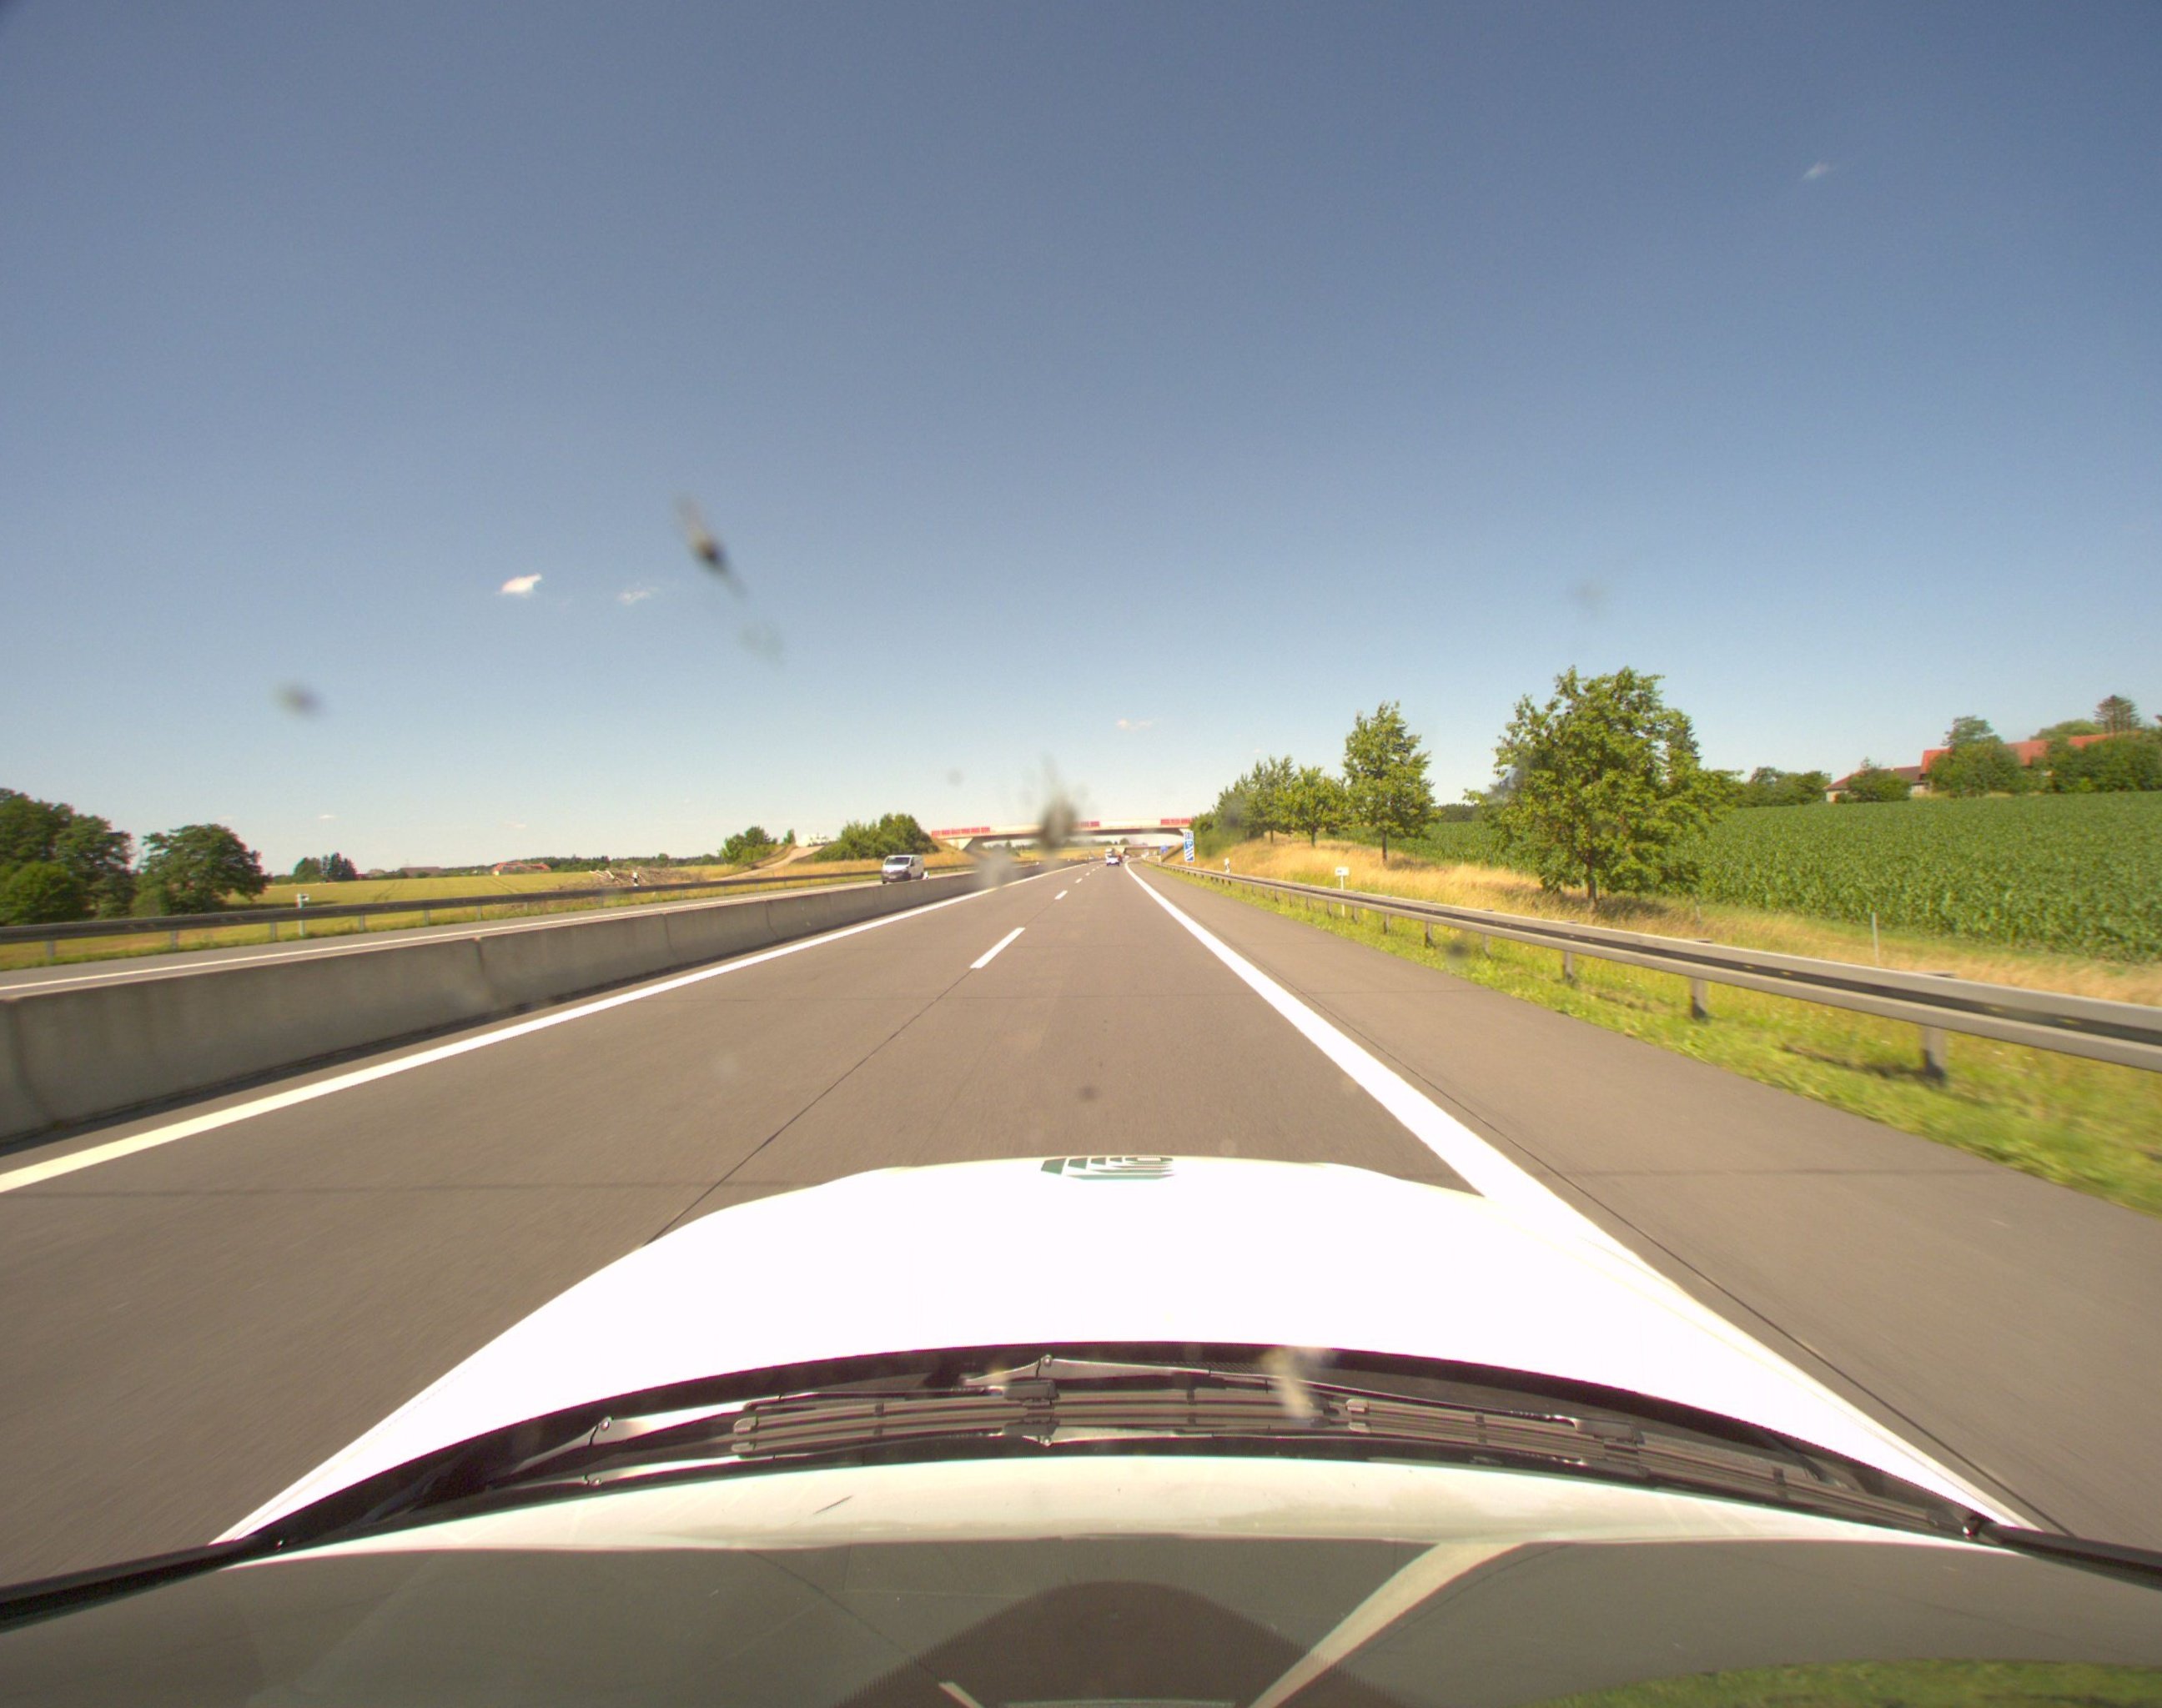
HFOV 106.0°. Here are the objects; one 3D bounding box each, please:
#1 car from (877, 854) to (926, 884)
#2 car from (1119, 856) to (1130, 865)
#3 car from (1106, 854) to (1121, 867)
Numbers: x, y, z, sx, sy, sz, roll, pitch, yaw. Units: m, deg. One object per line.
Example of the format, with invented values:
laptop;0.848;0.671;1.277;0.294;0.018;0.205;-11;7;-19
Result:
car;-12.400;1.034;56.671;1.986;2.014;5.716;0;-1;1
car;9.063;1.355;168.057;1.984;1.731;4.875;-3;0;5
car;4.640;0.907;116.134;1.986;1.731;4.870;-3;0;1
